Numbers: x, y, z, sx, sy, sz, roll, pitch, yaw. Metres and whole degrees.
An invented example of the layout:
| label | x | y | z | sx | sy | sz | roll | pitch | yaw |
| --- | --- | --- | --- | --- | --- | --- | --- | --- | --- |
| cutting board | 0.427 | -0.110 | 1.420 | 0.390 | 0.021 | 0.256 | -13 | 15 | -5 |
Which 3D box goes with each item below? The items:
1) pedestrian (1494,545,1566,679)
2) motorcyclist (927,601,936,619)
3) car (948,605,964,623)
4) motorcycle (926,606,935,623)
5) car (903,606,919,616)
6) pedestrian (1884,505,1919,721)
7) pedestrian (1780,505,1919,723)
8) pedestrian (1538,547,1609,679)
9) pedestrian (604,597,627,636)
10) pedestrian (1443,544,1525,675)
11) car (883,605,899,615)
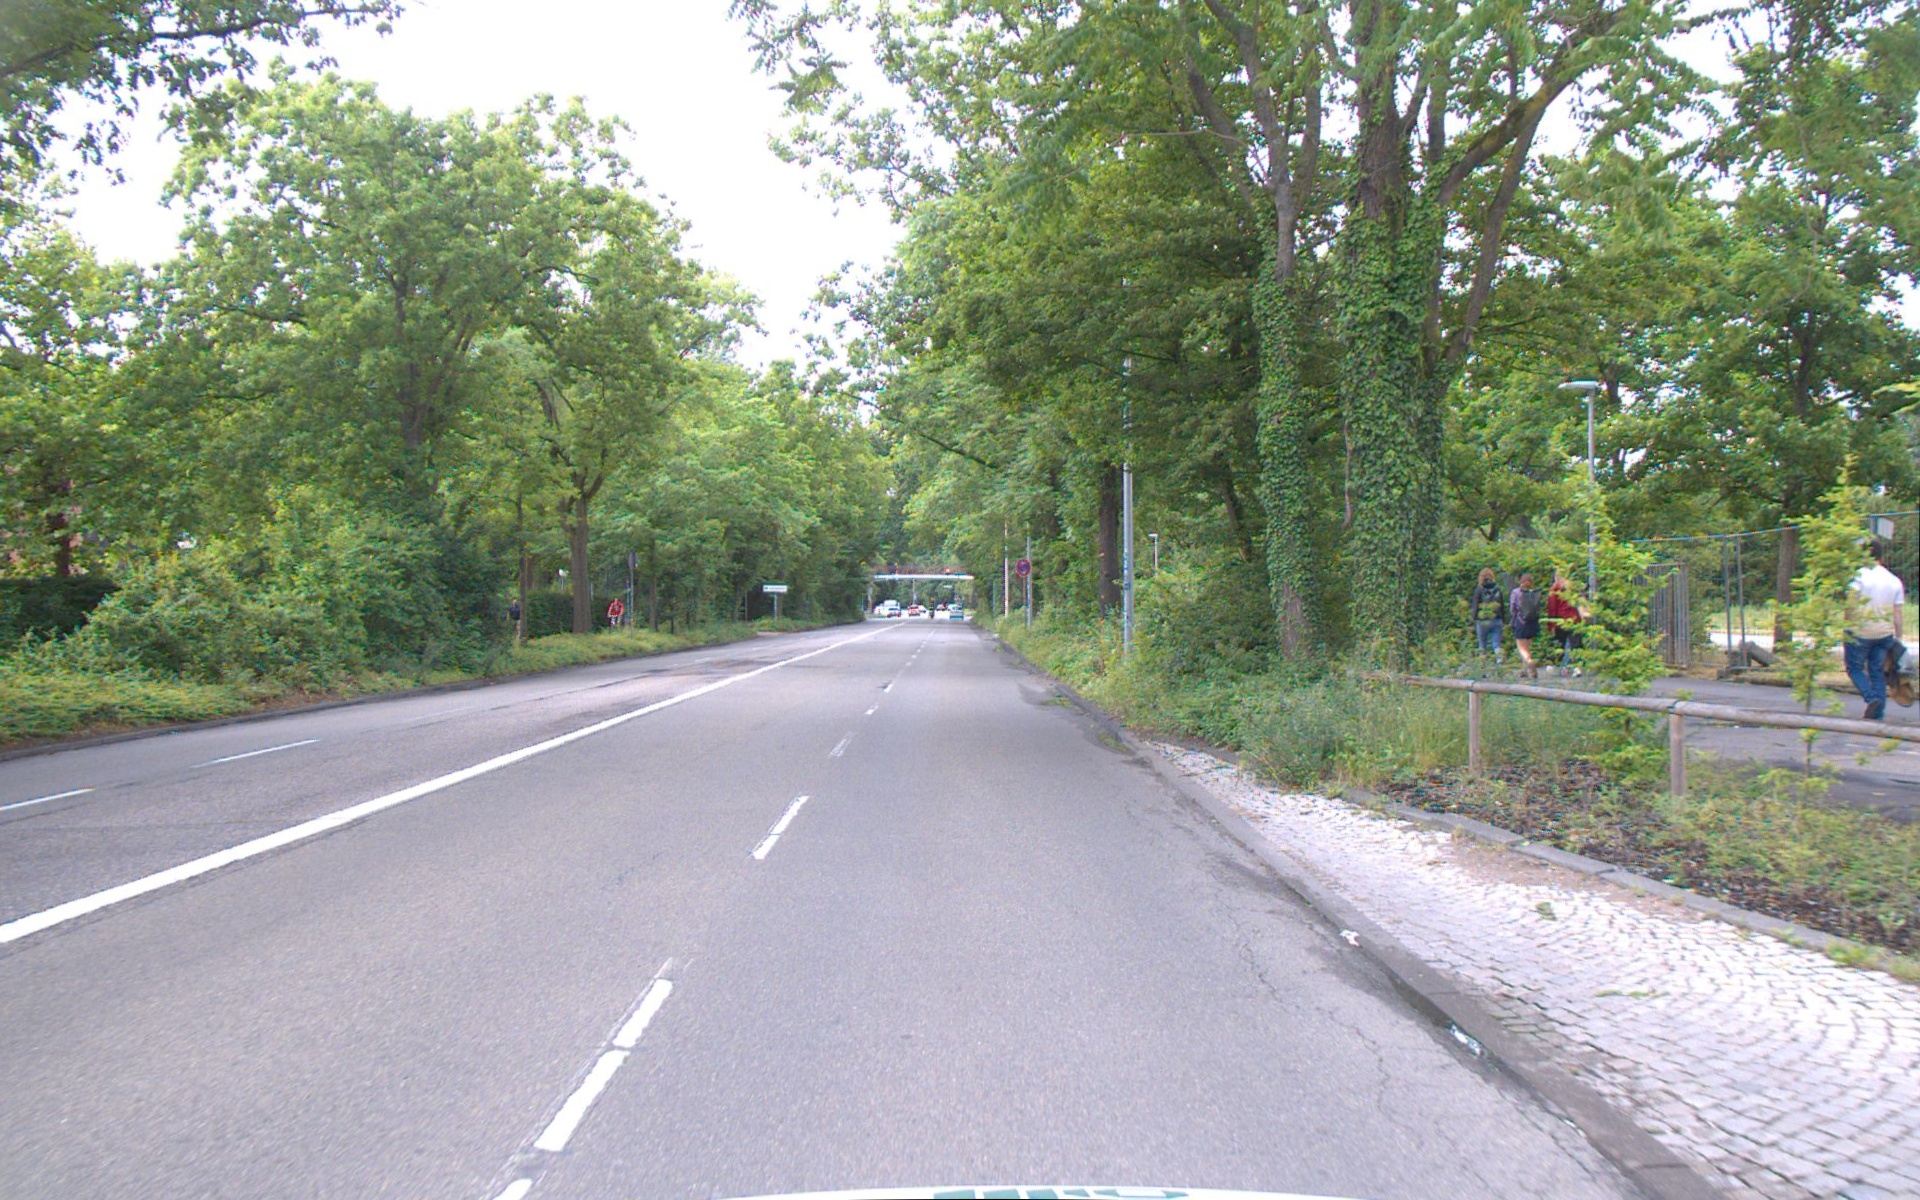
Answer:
| label | x | y | z | sx | sy | sz | roll | pitch | yaw |
| --- | --- | --- | --- | --- | --- | --- | --- | --- | --- |
| pedestrian | 9.004 | 0.186 | 26.150 | 0.807 | 2.049 | 0.720 | -2 | 0 | -1 |
| motorcyclist | -3.371 | 1.178 | 194.262 | 1.041 | 2.049 | 0.842 | 1 | 0 | -1 |
| car | -0.491 | 1.596 | 190.574 | 1.806 | 2.049 | 3.999 | 1 | 0 | 0 |
| motorcycle | -3.452 | 1.692 | 194.324 | 0.970 | 1.970 | 2.669 | 1 | 0 | 0 |
| car | -7.088 | 1.524 | 237.885 | 1.639 | 1.386 | 3.924 | 1 | 0 | 8 |
| pedestrian | 9.549 | 0.115 | 15.689 | 0.907 | 2.049 | 1.038 | -1 | 0 | -5 |
| pedestrian | 8.785 | 0.128 | 16.189 | 0.907 | 2.049 | 1.038 | -1 | 0 | -5 |
| pedestrian | 9.751 | 0.212 | 26.317 | 0.807 | 2.049 | 0.720 | -2 | 0 | -1 |
| pedestrian | -14.696 | 0.687 | 70.654 | 0.775 | 1.641 | 0.848 | 1 | 0 | 0 |
| pedestrian | 8.461 | 0.155 | 26.738 | 0.907 | 2.049 | 1.038 | -1 | 0 | -5 |
| car | -9.893 | 1.488 | 237.587 | 1.952 | 1.377 | 3.896 | 1 | 0 | 2 |
